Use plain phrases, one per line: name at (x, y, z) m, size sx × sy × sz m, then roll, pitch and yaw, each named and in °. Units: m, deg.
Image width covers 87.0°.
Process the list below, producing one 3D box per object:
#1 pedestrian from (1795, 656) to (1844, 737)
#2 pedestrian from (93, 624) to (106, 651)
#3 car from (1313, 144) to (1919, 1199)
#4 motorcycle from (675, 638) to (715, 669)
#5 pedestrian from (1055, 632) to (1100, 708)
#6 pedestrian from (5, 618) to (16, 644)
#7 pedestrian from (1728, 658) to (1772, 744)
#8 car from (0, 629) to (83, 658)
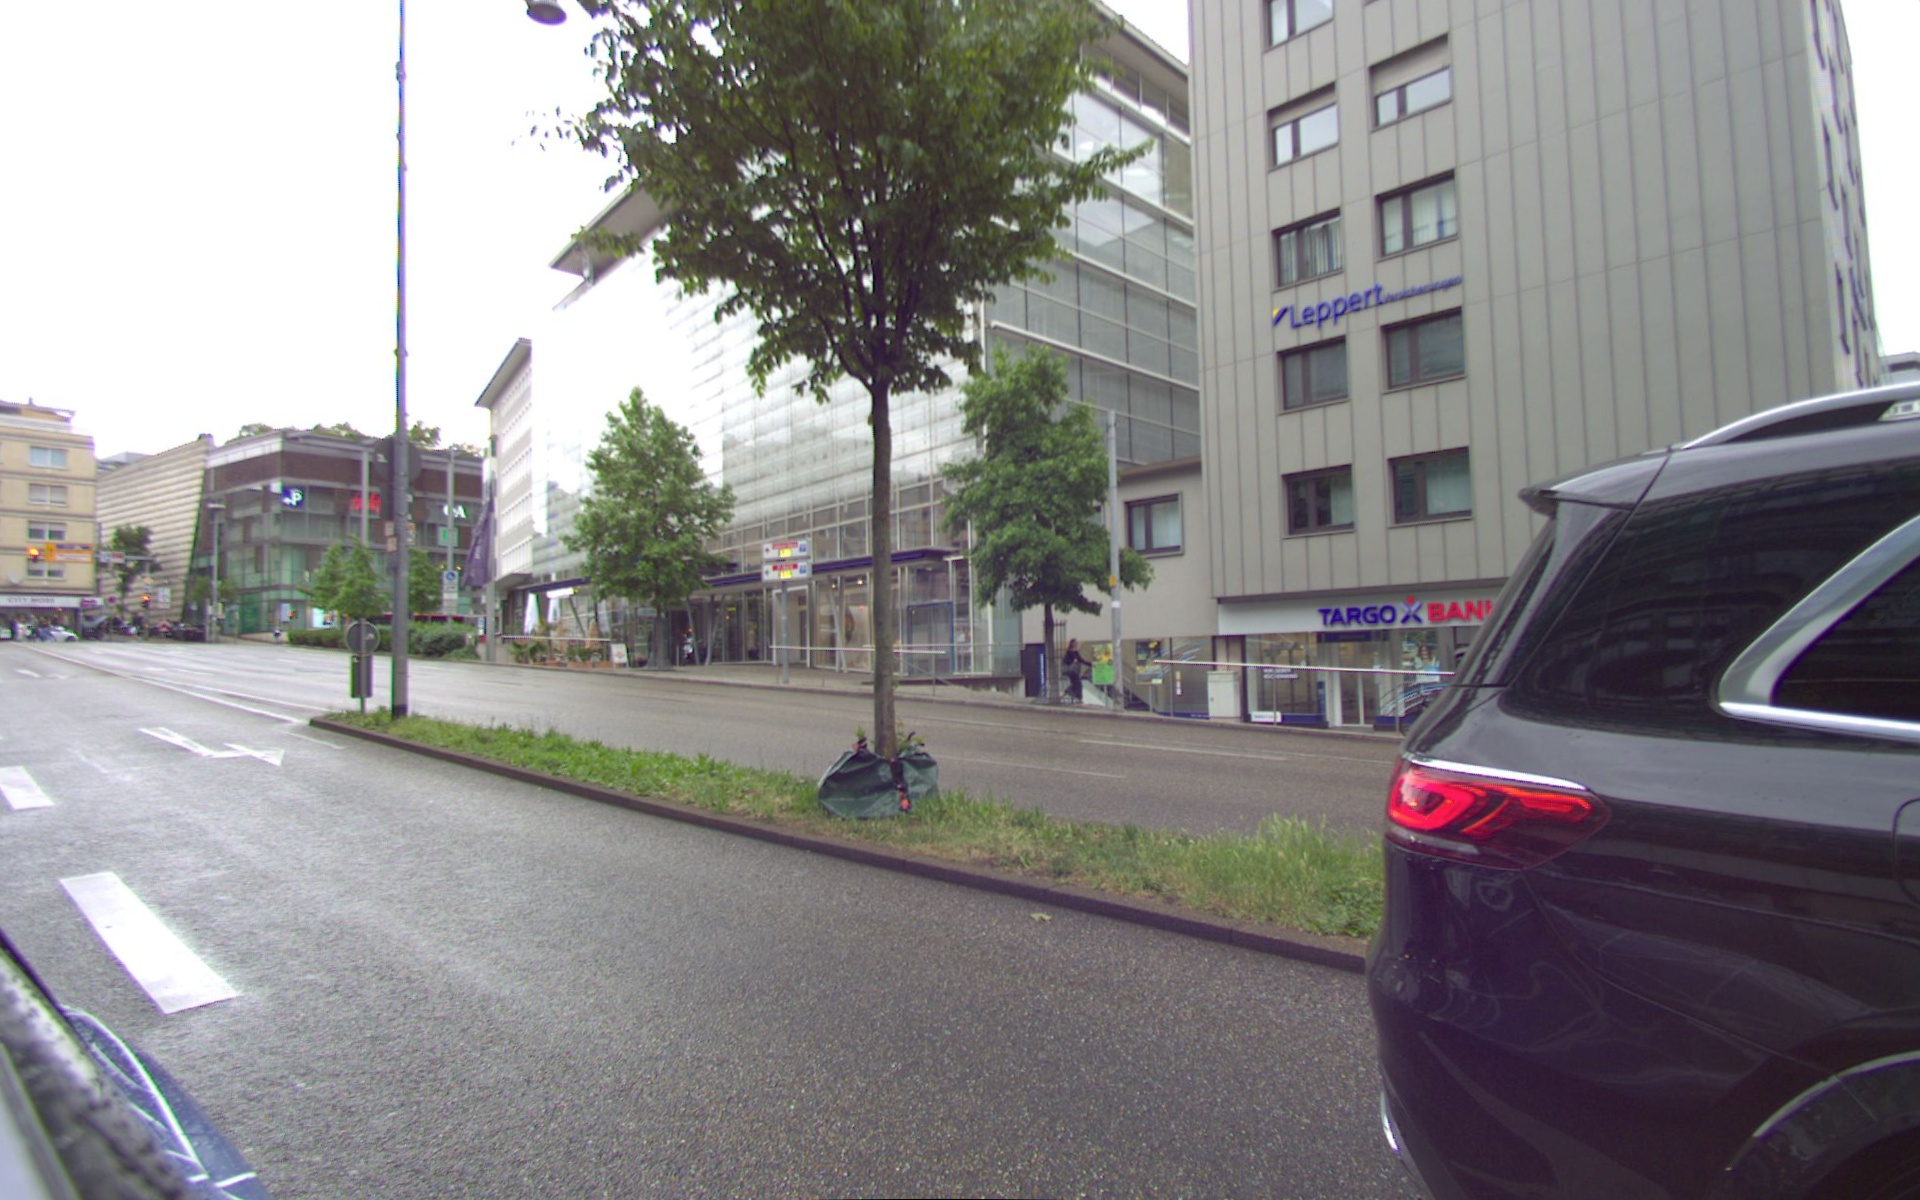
pedestrian at (19.053, 2.121, 22.447) m, size 0.724 × 1.710 × 0.781 m, roll 0°, pitch -3°, yaw 34°
pedestrian at (-57.794, 2.533, 67.943) m, size 0.618 × 1.788 × 0.689 m, roll 0°, pitch 0°, yaw -45°
car at (3.127, 0.388, 0.787) m, size 5.069 × 1.884 × 1.892 m, roll 0°, pitch 0°, yaw 40°
motorcycle at (-12.046, 2.429, 46.030) m, size 0.620 × 1.336 × 1.685 m, roll -1°, pitch -3°, yaw 41°
pedestrian at (2.648, 1.559, 22.799) m, size 0.626 × 1.649 × 0.791 m, roll 0°, pitch 0°, yaw -41°
pedestrian at (-60.958, 1.997, 64.951) m, size 0.602 × 1.642 × 0.422 m, roll -1°, pitch -3°, yaw 44°
pedestrian at (16.156, 2.040, 20.702) m, size 0.634 × 1.649 × 0.781 m, roll 0°, pitch 0°, yaw 34°
car at (-66.842, 3.118, 73.338) m, size 1.981 × 2.029 × 4.565 m, roll 0°, pitch -2°, yaw 15°
